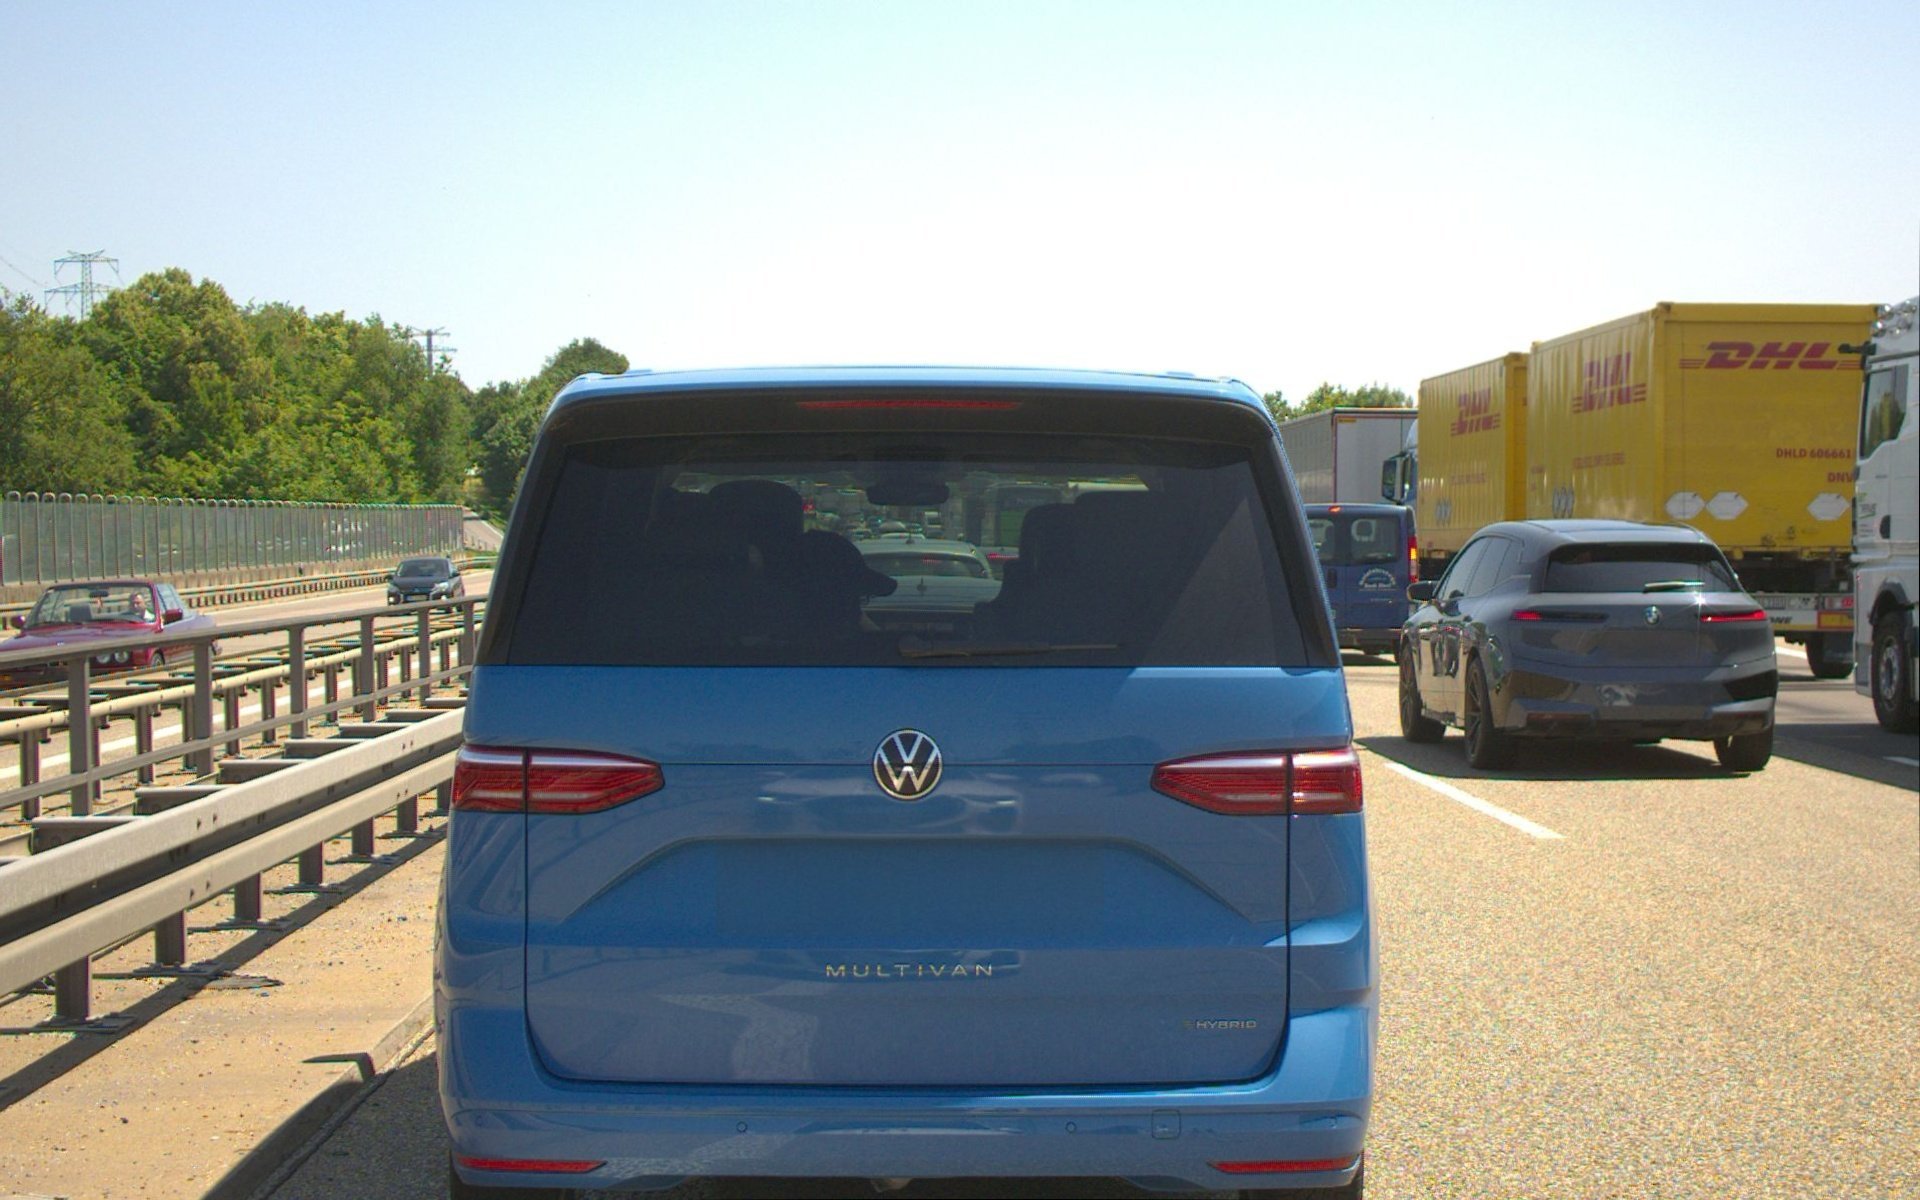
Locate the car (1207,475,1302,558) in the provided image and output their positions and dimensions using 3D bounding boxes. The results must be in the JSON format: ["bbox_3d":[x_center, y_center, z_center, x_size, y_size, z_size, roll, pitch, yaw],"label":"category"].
[{"bbox_3d":[7.372,-2.077,86.441,1.993,2.007,4.000,1,1,0],"label":"car"}]

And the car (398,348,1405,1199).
[{"bbox_3d":[-0.125,0.446,8.306,1.820,1.851,4.075,1,1,0],"label":"car"}]

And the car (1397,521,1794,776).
[{"bbox_3d":[4.375,0.274,24.323,1.962,1.639,4.293,0,1,-1],"label":"car"}]

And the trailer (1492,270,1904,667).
[{"bbox_3d":[8.608,-1.462,41.348,2.864,4.224,9.012,1,1,-1],"label":"trailer"}]

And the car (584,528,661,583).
[{"bbox_3d":[-9.852,-1.300,100.560,1.791,1.473,3.989,-3,1,0],"label":"car"}]

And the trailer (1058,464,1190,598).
[{"bbox_3d":[3.824,-1.623,82.501,2.569,2.980,10.663,1,1,0],"label":"trailer"}]

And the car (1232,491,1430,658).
[{"bbox_3d":[4.589,-0.347,43.099,1.962,1.986,4.293,0,1,-1],"label":"car"}]

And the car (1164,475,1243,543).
[{"bbox_3d":[7.351,-2.735,104.045,1.993,2.007,4.461,-1,1,0],"label":"car"}]

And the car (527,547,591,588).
[{"bbox_3d":[-14.756,-1.214,126.696,1.775,1.403,4.683,-2,1,0],"label":"car"}]

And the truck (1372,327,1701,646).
[{"bbox_3d":[8.363,-1.596,51.413,2.836,4.228,11.011,1,1,-1],"label":"truck"}]

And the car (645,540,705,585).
[{"bbox_3d":[-10.079,-1.343,121.786,1.668,1.443,4.000,-3,1,1],"label":"car"}]

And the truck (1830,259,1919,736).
[{"bbox_3d":[8.703,-0.728,23.247,2.656,3.635,11.011,0,1,-1],"label":"truck"}]

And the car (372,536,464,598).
[{"bbox_3d":[-14.171,-0.883,90.117,1.729,1.486,4.420,-2,1,-1],"label":"car"}]

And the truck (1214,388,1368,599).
[{"bbox_3d":[7.298,-2.311,76.637,2.667,4.469,6.850,1,1,0],"label":"truck"}]

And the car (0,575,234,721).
[{"bbox_3d":[-8.818,0.460,35.880,1.597,1.313,4.342,-2,1,-1],"label":"car"}]

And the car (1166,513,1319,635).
[{"bbox_3d":[4.297,-0.422,52.883,1.993,1.809,4.000,0,1,-1],"label":"car"}]

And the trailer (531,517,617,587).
[{"bbox_3d":[-14.824,-1.881,132.431,2.493,2.540,6.774,-2,1,0],"label":"trailer"}]

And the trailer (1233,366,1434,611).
[{"bbox_3d":[7.359,-2.179,69.200,2.637,4.501,11.302,1,1,-1],"label":"trailer"}]
